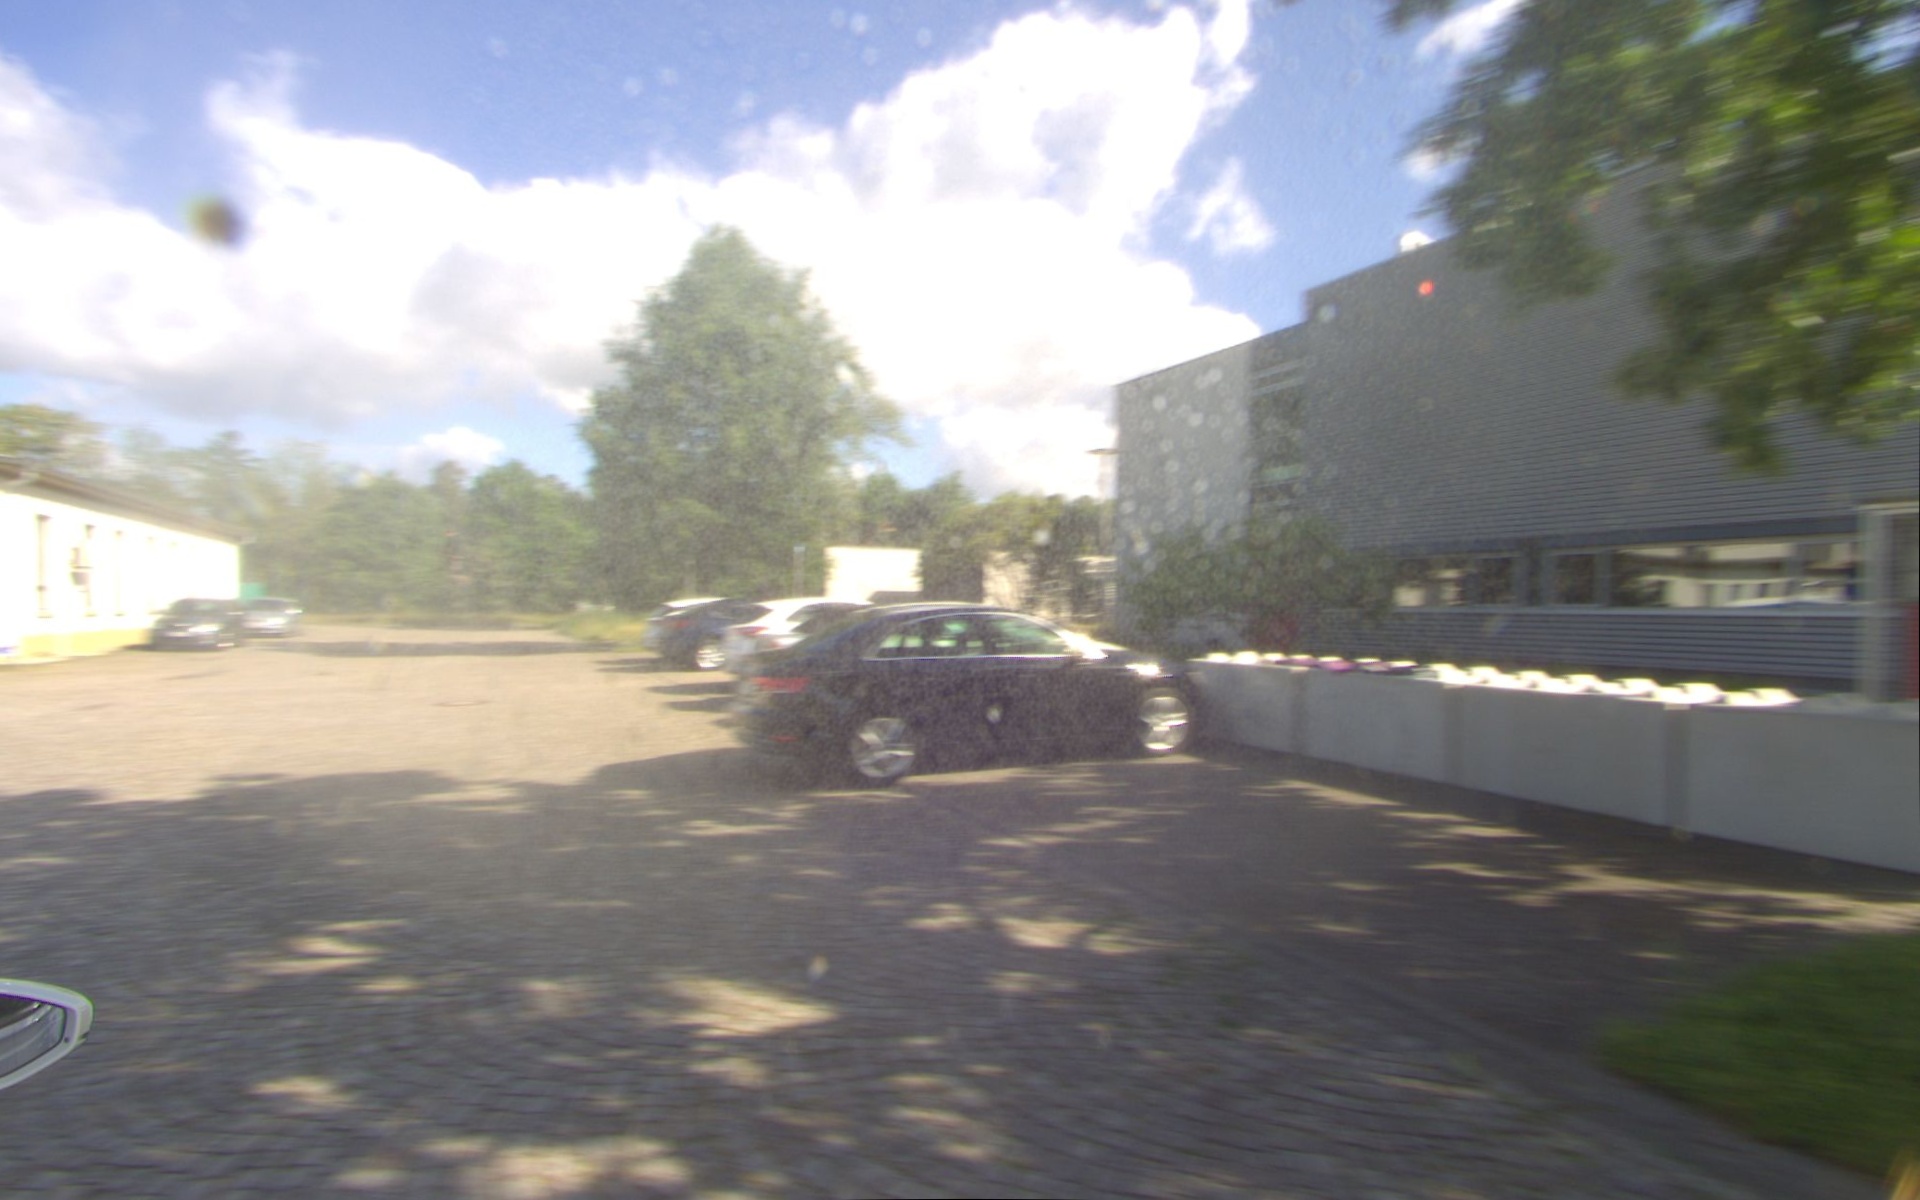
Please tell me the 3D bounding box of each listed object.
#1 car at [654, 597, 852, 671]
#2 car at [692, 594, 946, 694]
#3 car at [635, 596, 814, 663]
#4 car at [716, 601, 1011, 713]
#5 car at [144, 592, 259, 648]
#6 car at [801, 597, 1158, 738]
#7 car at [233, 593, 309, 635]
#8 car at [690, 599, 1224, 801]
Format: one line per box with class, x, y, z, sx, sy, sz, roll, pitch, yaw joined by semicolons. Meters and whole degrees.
car;-4.415;0.674;21.411;3.863;1.436;1.686;-1;1;-25
car;-2.346;0.657;16.687;3.863;1.466;1.749;-1;1;-25
car;-5.605;0.654;23.853;3.863;1.454;1.789;-1;1;-25
car;-1.378;0.727;14.364;3.863;1.390;1.721;-1;1;-25
car;-21.367;0.533;28.373;1.742;1.454;3.976;1;-1;-25
car;0.235;0.732;12.366;4.081;1.479;1.686;-1;1;-21
car;-25.568;0.507;37.270;1.666;1.454;3.971;1;-1;-25
car;0.050;0.738;9.246;4.661;1.442;1.749;-1;1;-27
